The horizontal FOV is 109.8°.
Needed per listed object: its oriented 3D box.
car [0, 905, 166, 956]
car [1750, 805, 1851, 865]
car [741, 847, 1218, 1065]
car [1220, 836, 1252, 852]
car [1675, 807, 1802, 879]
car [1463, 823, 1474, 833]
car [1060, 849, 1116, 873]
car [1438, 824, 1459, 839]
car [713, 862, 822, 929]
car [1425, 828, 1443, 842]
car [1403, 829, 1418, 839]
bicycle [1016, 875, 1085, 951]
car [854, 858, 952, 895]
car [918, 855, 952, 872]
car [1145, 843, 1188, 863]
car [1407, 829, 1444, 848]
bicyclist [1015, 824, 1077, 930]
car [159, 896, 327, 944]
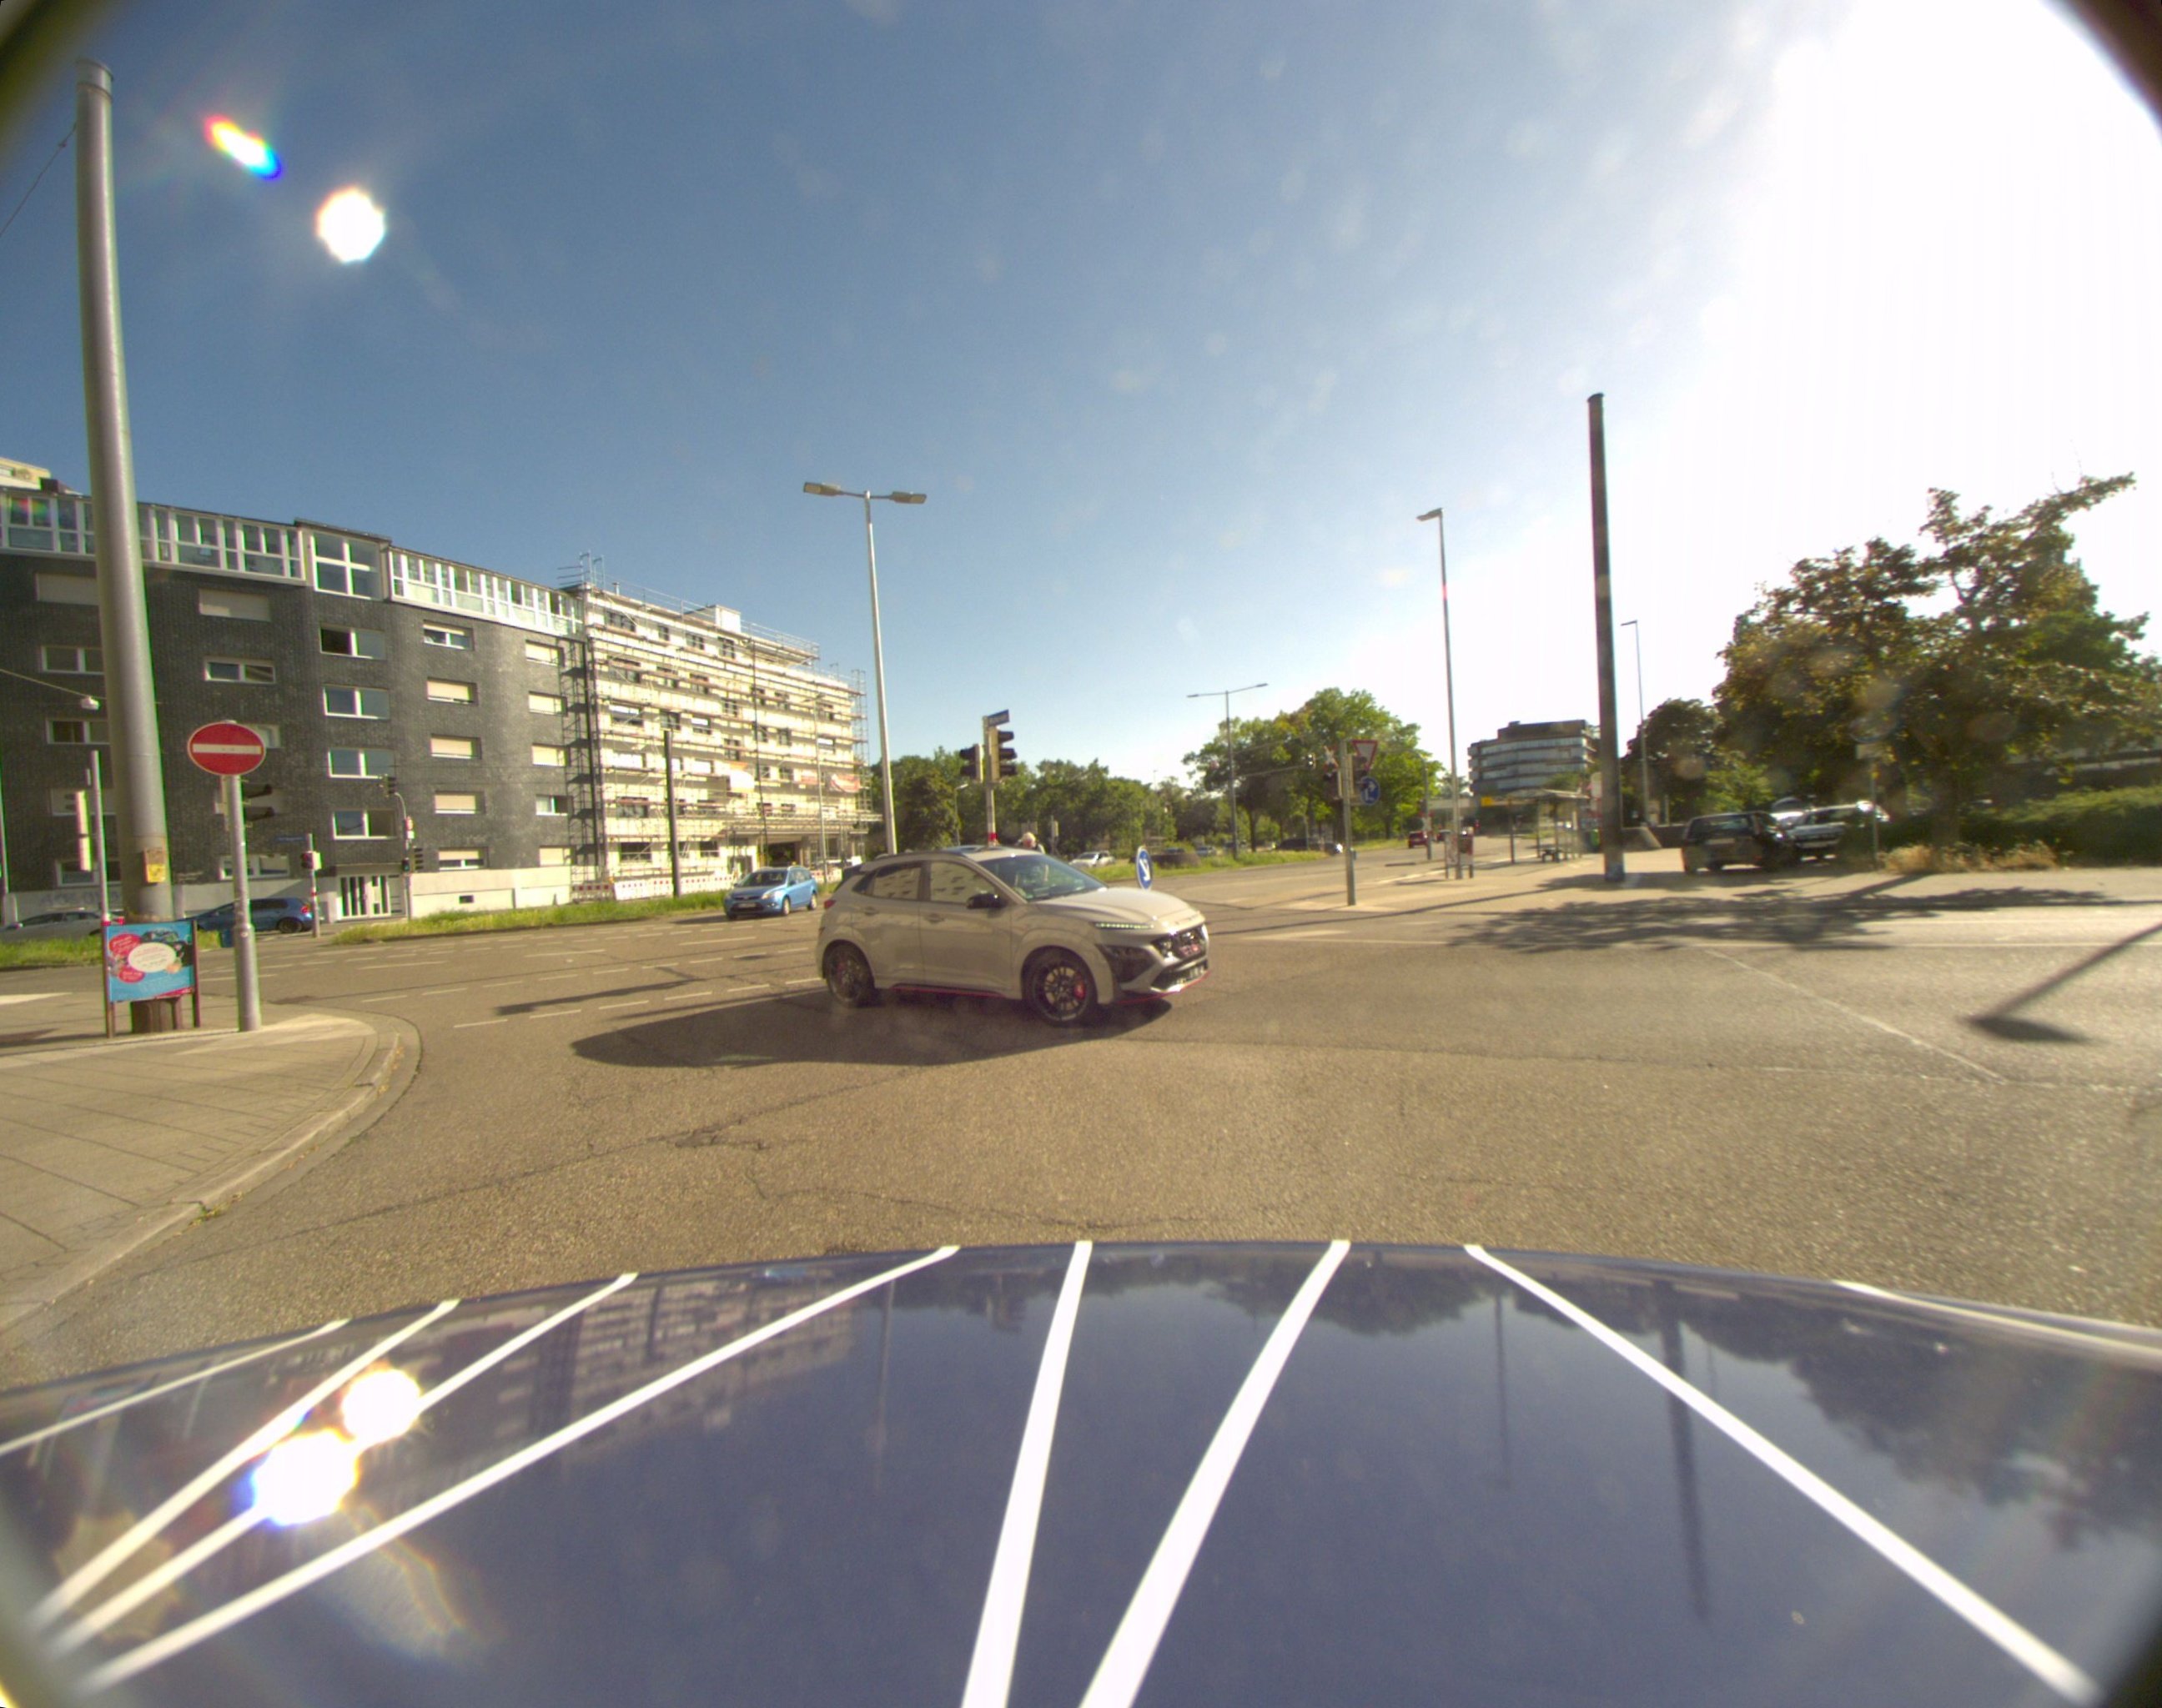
[{"bbox_3d":[-36.396,2.741,27.368,4.005,1.407,1.685,-3,1,-30],"label":"car"},{"bbox_3d":[21.538,-0.593,22.705,4.007,1.571,1.795,-4,1,-41],"label":"car"},{"bbox_3d":[-1.144,0.832,7.568,4.473,1.543,1.909,-3,1,34],"label":"car"},{"bbox_3d":[16.454,-1.054,80.425,1.869,1.447,4.492,-3,1,31],"label":"car"},{"bbox_3d":[16.300,-0.298,18.796,3.602,1.499,1.680,-4,-1,-39],"label":"car"},{"bbox_3d":[86.551,-5.839,169.786,1.995,2.002,4.006,-3,1,24],"label":"car"},{"bbox_3d":[0.526,0.452,53.257,1.869,1.447,4.492,-3,1,31],"label":"car"},{"bbox_3d":[41.315,-2.578,85.507,1.995,1.543,4.491,-3,1,25],"label":"car"},{"bbox_3d":[-9.817,1.212,24.180,1.873,1.765,4.482,-3,0,-5],"label":"car"},{"bbox_3d":[44.663,-2.370,96.127,1.995,1.652,4.491,-3,1,25],"label":"car"},{"bbox_3d":[58.304,-3.528,134.498,1.996,1.652,4.490,-3,1,19],"label":"car"},{"bbox_3d":[-0.519,0.864,11.854,0.829,0.981,1.945,-3,1,-8],"label":"bicycle"},{"bbox_3d":[-8.286,1.016,35.854,1.869,1.447,4.492,-3,1,30],"label":"car"},{"bbox_3d":[-16.354,1.049,84.980,1.817,1.575,3.690,-3,1,26],"label":"car"},{"bbox_3d":[7.360,-0.088,64.873,1.869,1.447,4.492,-3,1,31],"label":"car"},{"bbox_3d":[31.547,-1.415,69.459,1.995,1.543,4.493,-3,1,38],"label":"car"},{"bbox_3d":[-0.546,0.348,11.794,0.828,1.555,0.595,-3,1,-8],"label":"bicyclist"},{"bbox_3d":[-32.511,2.530,29.663,4.005,1.407,1.685,-3,1,-30],"label":"car"}]
